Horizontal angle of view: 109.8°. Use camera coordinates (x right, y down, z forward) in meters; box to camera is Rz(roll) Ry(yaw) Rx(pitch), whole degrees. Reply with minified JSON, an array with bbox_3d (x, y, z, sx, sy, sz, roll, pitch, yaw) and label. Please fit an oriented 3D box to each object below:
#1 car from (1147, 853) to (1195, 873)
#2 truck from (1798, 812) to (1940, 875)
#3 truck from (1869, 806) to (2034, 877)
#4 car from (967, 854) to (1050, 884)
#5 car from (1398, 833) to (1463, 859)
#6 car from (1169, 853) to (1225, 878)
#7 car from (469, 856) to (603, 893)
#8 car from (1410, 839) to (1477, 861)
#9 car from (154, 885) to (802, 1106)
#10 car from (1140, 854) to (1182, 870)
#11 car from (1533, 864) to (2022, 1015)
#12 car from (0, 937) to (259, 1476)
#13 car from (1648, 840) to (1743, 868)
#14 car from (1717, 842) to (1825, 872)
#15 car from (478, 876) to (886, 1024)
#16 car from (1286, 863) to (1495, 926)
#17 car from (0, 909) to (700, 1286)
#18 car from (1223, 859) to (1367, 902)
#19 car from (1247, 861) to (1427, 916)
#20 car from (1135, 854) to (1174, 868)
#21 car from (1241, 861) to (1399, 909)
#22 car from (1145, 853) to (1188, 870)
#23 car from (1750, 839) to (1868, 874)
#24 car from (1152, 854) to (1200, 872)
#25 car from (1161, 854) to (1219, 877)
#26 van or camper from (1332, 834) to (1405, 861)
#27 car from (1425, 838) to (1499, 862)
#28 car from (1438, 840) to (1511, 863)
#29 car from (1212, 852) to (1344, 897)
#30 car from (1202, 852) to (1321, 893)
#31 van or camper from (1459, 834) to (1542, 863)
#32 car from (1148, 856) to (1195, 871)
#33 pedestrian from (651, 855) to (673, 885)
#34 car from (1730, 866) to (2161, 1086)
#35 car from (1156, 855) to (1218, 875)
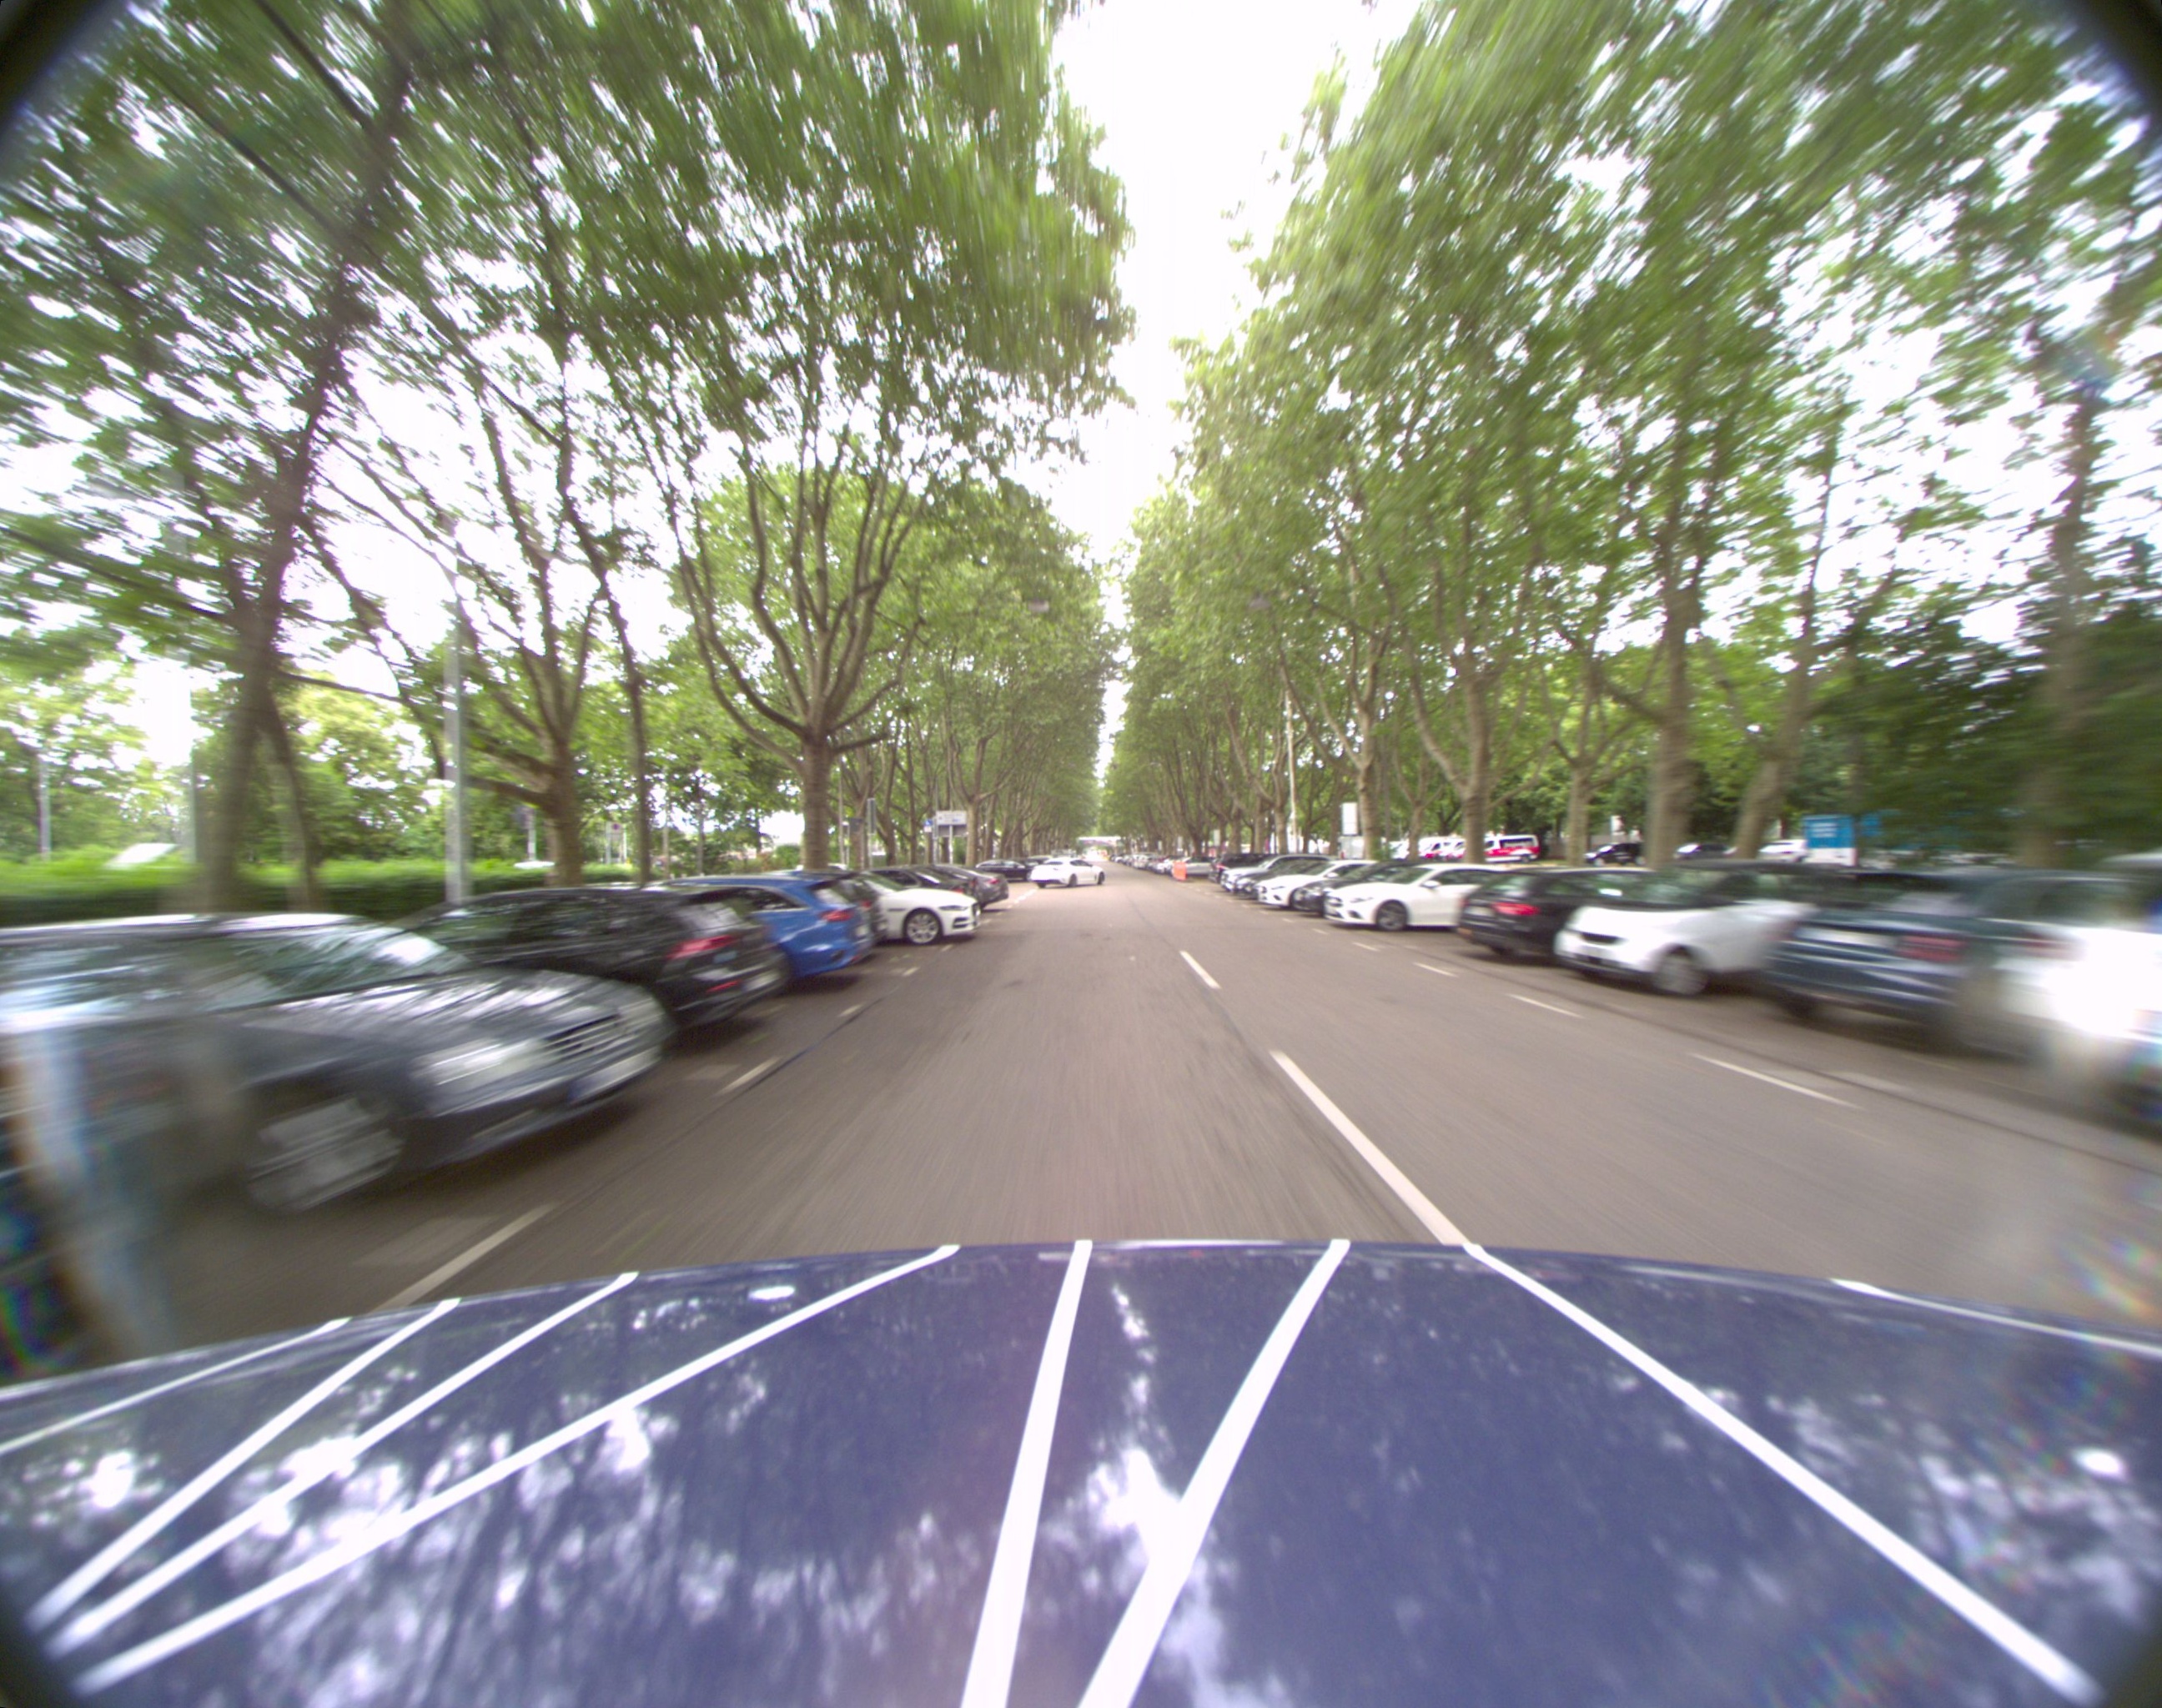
[{"bbox_3d":[7.508,0.738,63.730,3.847,1.560,1.847,1,0,3],"label":"car"},{"bbox_3d":[34.734,-0.457,33.587,3.996,2.594,2.122,-2,1,2],"label":"truck"},{"bbox_3d":[35.395,-0.499,30.997,3.997,2.701,2.376,-2,1,0],"label":"truck"},{"bbox_3d":[-4.332,0.894,46.046,4.832,1.497,2.000,-3,0,-1],"label":"car"},{"bbox_3d":[35.511,-0.812,77.223,5.466,2.502,2.393,-2,1,-1],"label":"car"},{"bbox_3d":[7.801,0.770,51.255,3.565,1.569,1.847,1,0,3],"label":"car"},{"bbox_3d":[-22.841,0.839,31.968,4.288,1.453,1.784,0,0,-1],"label":"car"},{"bbox_3d":[35.512,-0.427,74.537,5.466,2.009,2.393,-2,1,-1],"label":"car"},{"bbox_3d":[-4.936,1.115,6.741,4.207,1.447,1.785,-2,0,-2],"label":"car"},{"bbox_3d":[7.964,0.769,76.128,4.039,1.518,1.800,1,0,3],"label":"car"},{"bbox_3d":[7.880,0.924,8.941,3.996,1.445,1.856,-2,1,2],"label":"car"},{"bbox_3d":[-5.294,1.152,1.976,4.207,1.509,1.785,-2,0,-2],"label":"car"},{"bbox_3d":[34.954,-0.017,43.284,3.998,1.478,1.800,-2,1,-3],"label":"car"},{"bbox_3d":[34.993,0.142,38.565,4.014,1.369,1.729,-2,1,-3],"label":"car"},{"bbox_3d":[-4.697,1.092,9.508,4.027,1.439,1.913,-2,0,-4],"label":"car"},{"bbox_3d":[7.500,0.962,18.738,4.418,1.409,1.784,1,0,3],"label":"car"},{"bbox_3d":[-4.706,1.176,4.230,4.207,1.447,1.785,-2,0,-2],"label":"car"},{"bbox_3d":[7.351,0.888,26.430,4.420,1.387,2.047,1,0,-2],"label":"car"},{"bbox_3d":[7.073,0.934,21.304,4.419,1.416,1.776,1,0,0],"label":"car"},{"bbox_3d":[7.854,0.773,81.473,3.996,1.422,2.001,1,-1,3],"label":"car"},{"bbox_3d":[7.427,0.948,23.915,4.419,1.387,1.724,1,0,-1],"label":"car"},{"bbox_3d":[8.273,0.725,73.895,4.028,1.619,2.001,1,0,3],"label":"car"},{"bbox_3d":[34.626,0.099,36.201,3.997,1.499,1.733,-2,1,-1],"label":"car"},{"bbox_3d":[8.285,0.776,66.394,3.996,1.505,1.874,1,0,3],"label":"car"},{"bbox_3d":[7.676,0.768,53.719,3.847,1.529,1.676,1,0,3],"label":"car"},{"bbox_3d":[24.541,-0.577,64.985,5.299,2.087,2.244,-2,1,-1],"label":"van or camper"},{"bbox_3d":[34.965,-0.354,69.838,5.466,1.986,2.475,-2,1,-1],"label":"car"},{"bbox_3d":[34.798,-0.243,67.329,5.466,1.839,1.999,-2,1,-1],"label":"car"},{"bbox_3d":[7.460,0.745,28.999,4.421,1.617,2.046,1,0,-5],"label":"car"},{"bbox_3d":[7.448,0.762,31.677,4.420,1.617,2.047,1,0,-3],"label":"car"},{"bbox_3d":[35.655,-0.461,64.699,5.719,2.242,2.329,-2,1,1],"label":"van or camper"},{"bbox_3d":[8.138,0.865,68.607,3.996,1.302,2.001,1,-1,3],"label":"car"},{"bbox_3d":[-22.203,0.832,40.281,0.724,1.558,0.698,-1,1,7],"label":"pedestrian"},{"bbox_3d":[8.266,0.903,6.384,3.996,1.445,1.856,-2,1,2],"label":"car"},{"bbox_3d":[8.180,0.821,58.983,4.575,1.425,2.090,1,0,3],"label":"car"}]
